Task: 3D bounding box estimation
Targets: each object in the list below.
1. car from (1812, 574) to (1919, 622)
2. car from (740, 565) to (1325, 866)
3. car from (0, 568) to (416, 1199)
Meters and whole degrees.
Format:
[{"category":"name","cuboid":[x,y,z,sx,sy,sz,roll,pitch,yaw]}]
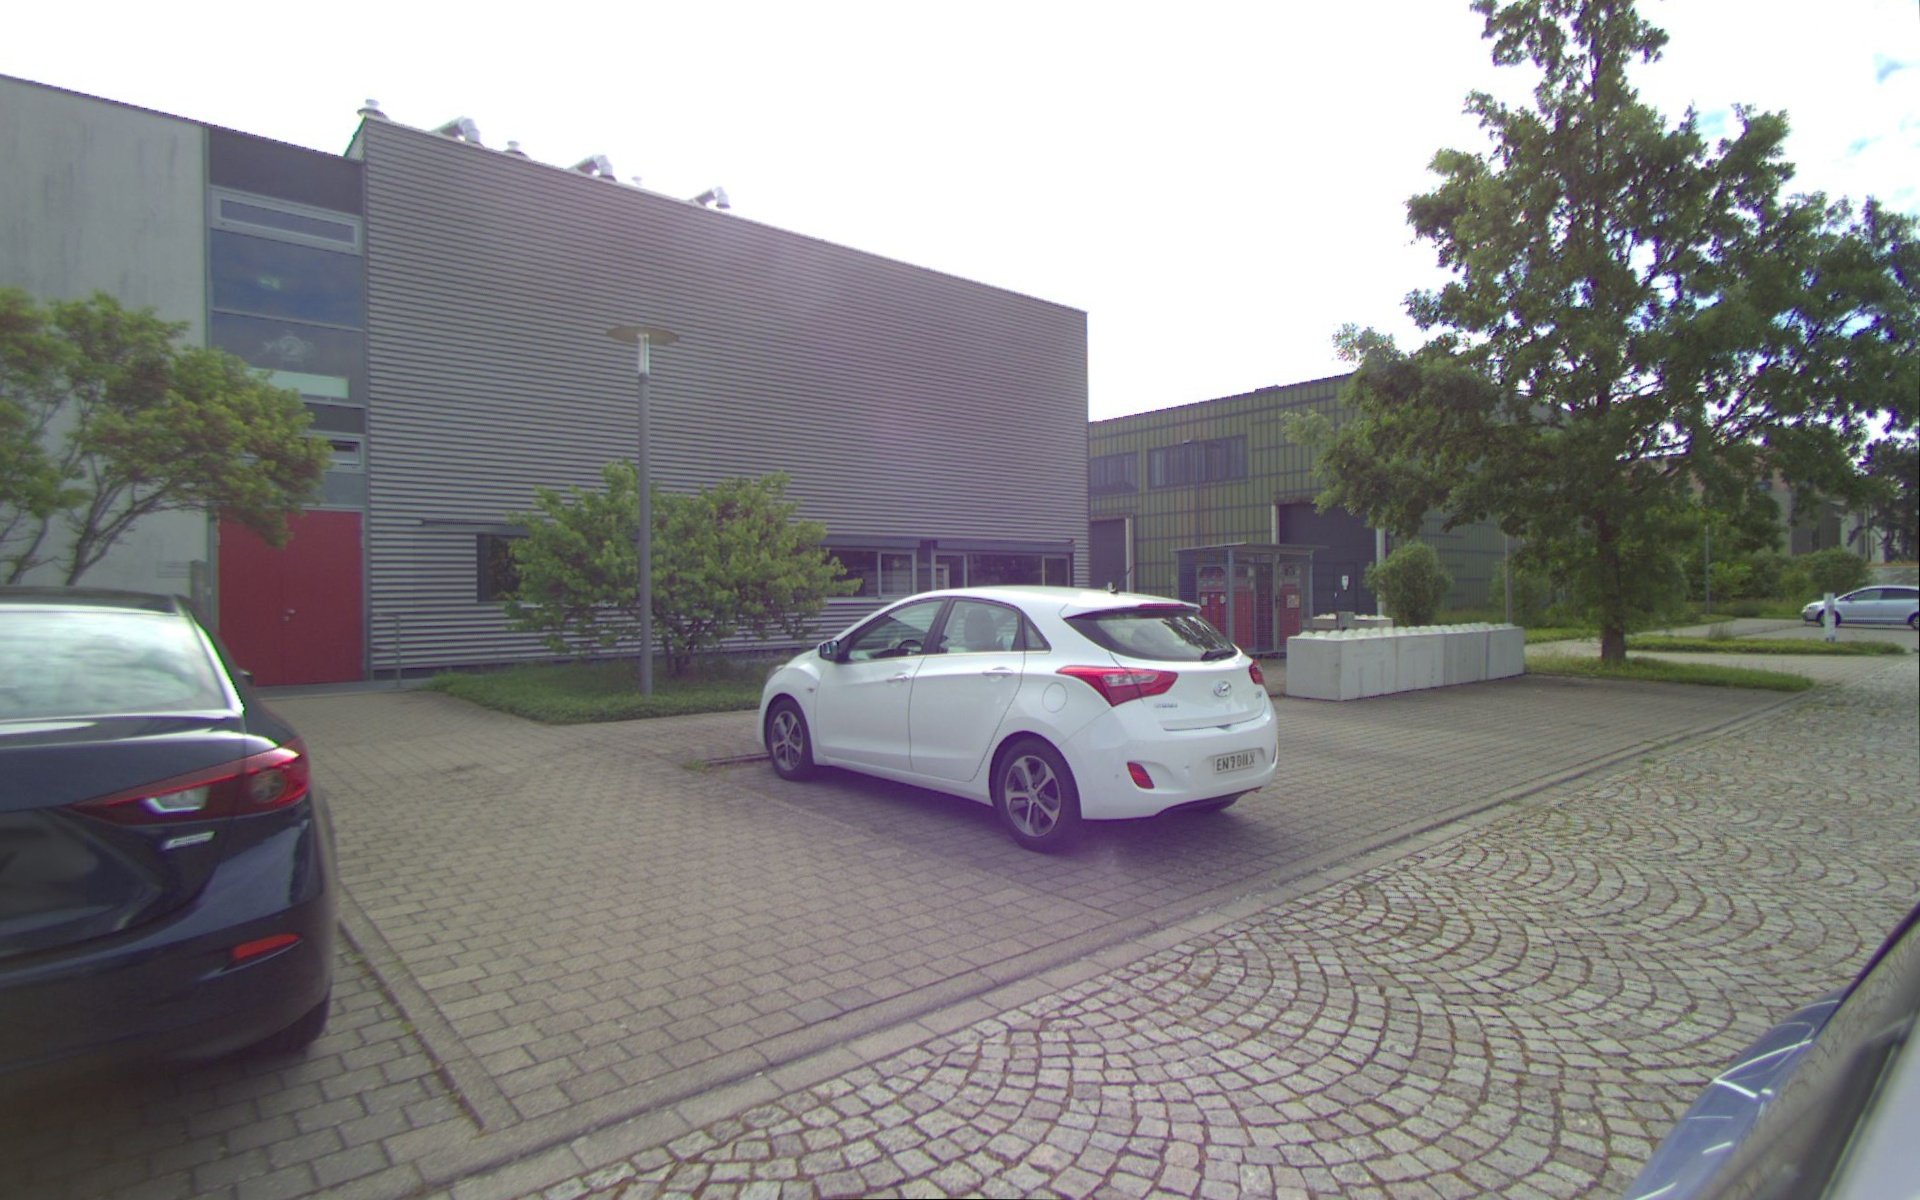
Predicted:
[{"category":"car","cuboid":[34.164,-0.102,37.239,1.907,1.644,4.126,-1,2,-43]},{"category":"car","cuboid":[0.250,0.548,7.112,1.850,1.485,3.982,-1,1,-41]},{"category":"car","cuboid":[-3.580,0.629,3.682,1.910,1.465,4.471,-1,1,-41]}]
